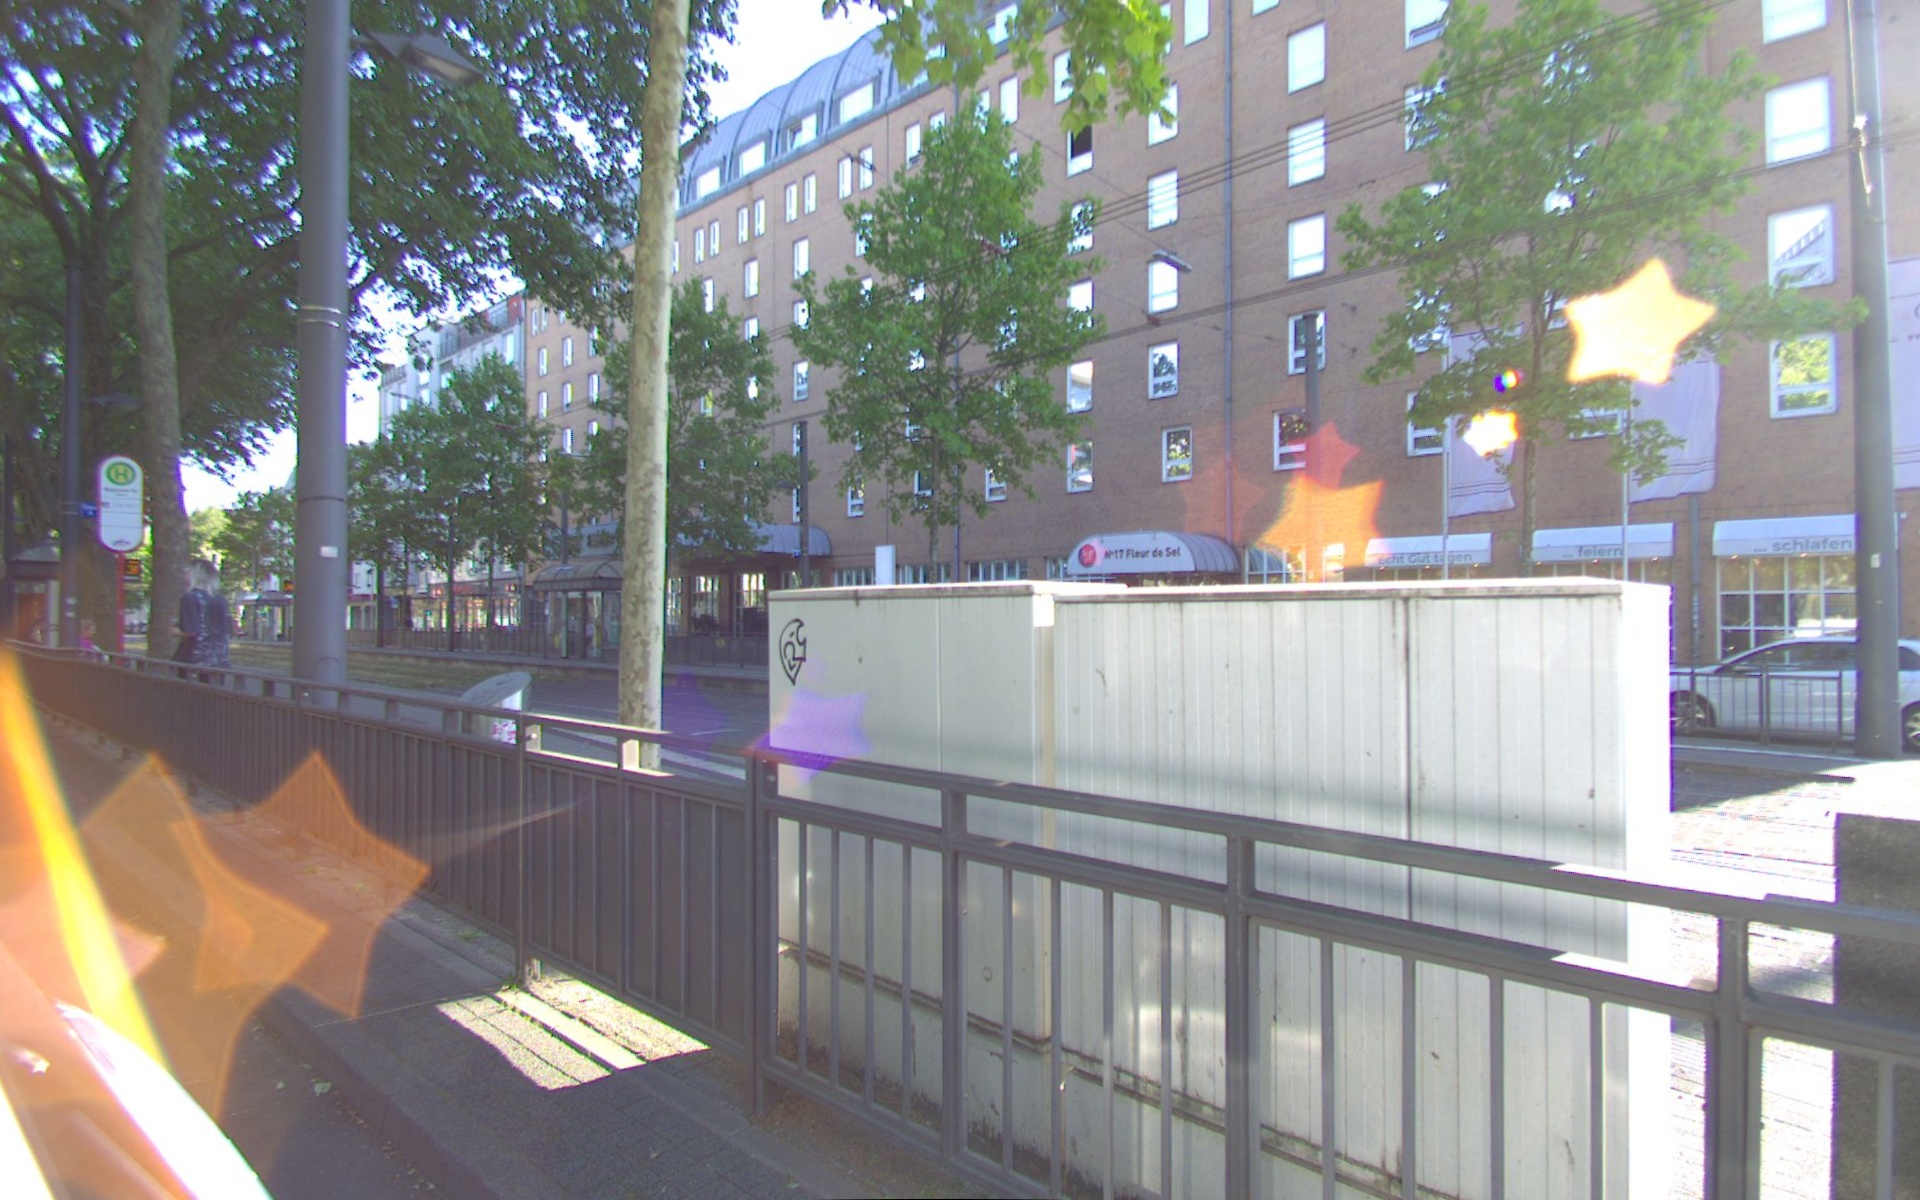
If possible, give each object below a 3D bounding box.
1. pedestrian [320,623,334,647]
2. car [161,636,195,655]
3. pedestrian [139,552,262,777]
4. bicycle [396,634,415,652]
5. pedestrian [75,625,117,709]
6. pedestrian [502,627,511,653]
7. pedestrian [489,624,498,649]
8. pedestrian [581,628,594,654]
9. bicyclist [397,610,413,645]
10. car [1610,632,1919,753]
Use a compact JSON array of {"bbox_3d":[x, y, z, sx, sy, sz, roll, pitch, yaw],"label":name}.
[{"bbox_3d":[-54.208,3.018,86.714,0.763,2.029,0.796,-2,-2,41],"label":"pedestrian"},{"bbox_3d":[-78.149,4.532,101.126,3.998,1.874,1.973,-1,-2,41],"label":"car"},{"bbox_3d":[-6.677,0.548,8.919,0.614,1.897,0.606,1,0,-1],"label":"pedestrian"},{"bbox_3d":[-31.005,2.392,56.570,0.444,1.012,1.754,2,-2,-44],"label":"bicycle"},{"bbox_3d":[-13.957,1.067,16.349,0.493,1.325,0.419,1,-2,-41],"label":"pedestrian"},{"bbox_3d":[-26.965,2.403,60.231,0.431,1.532,0.660,1,-2,-27],"label":"pedestrian"},{"bbox_3d":[-27.674,2.160,60.002,0.431,1.518,0.660,1,-2,-27],"label":"pedestrian"},{"bbox_3d":[-20.787,2.292,56.467,0.516,1.447,0.512,-2,-2,44],"label":"pedestrian"},{"bbox_3d":[-30.989,1.545,56.511,0.564,1.918,0.814,2,-2,-43],"label":"bicyclist"},{"bbox_3d":[11.831,1.205,14.147,1.734,1.500,4.313,1,-2,-43],"label":"car"}]
